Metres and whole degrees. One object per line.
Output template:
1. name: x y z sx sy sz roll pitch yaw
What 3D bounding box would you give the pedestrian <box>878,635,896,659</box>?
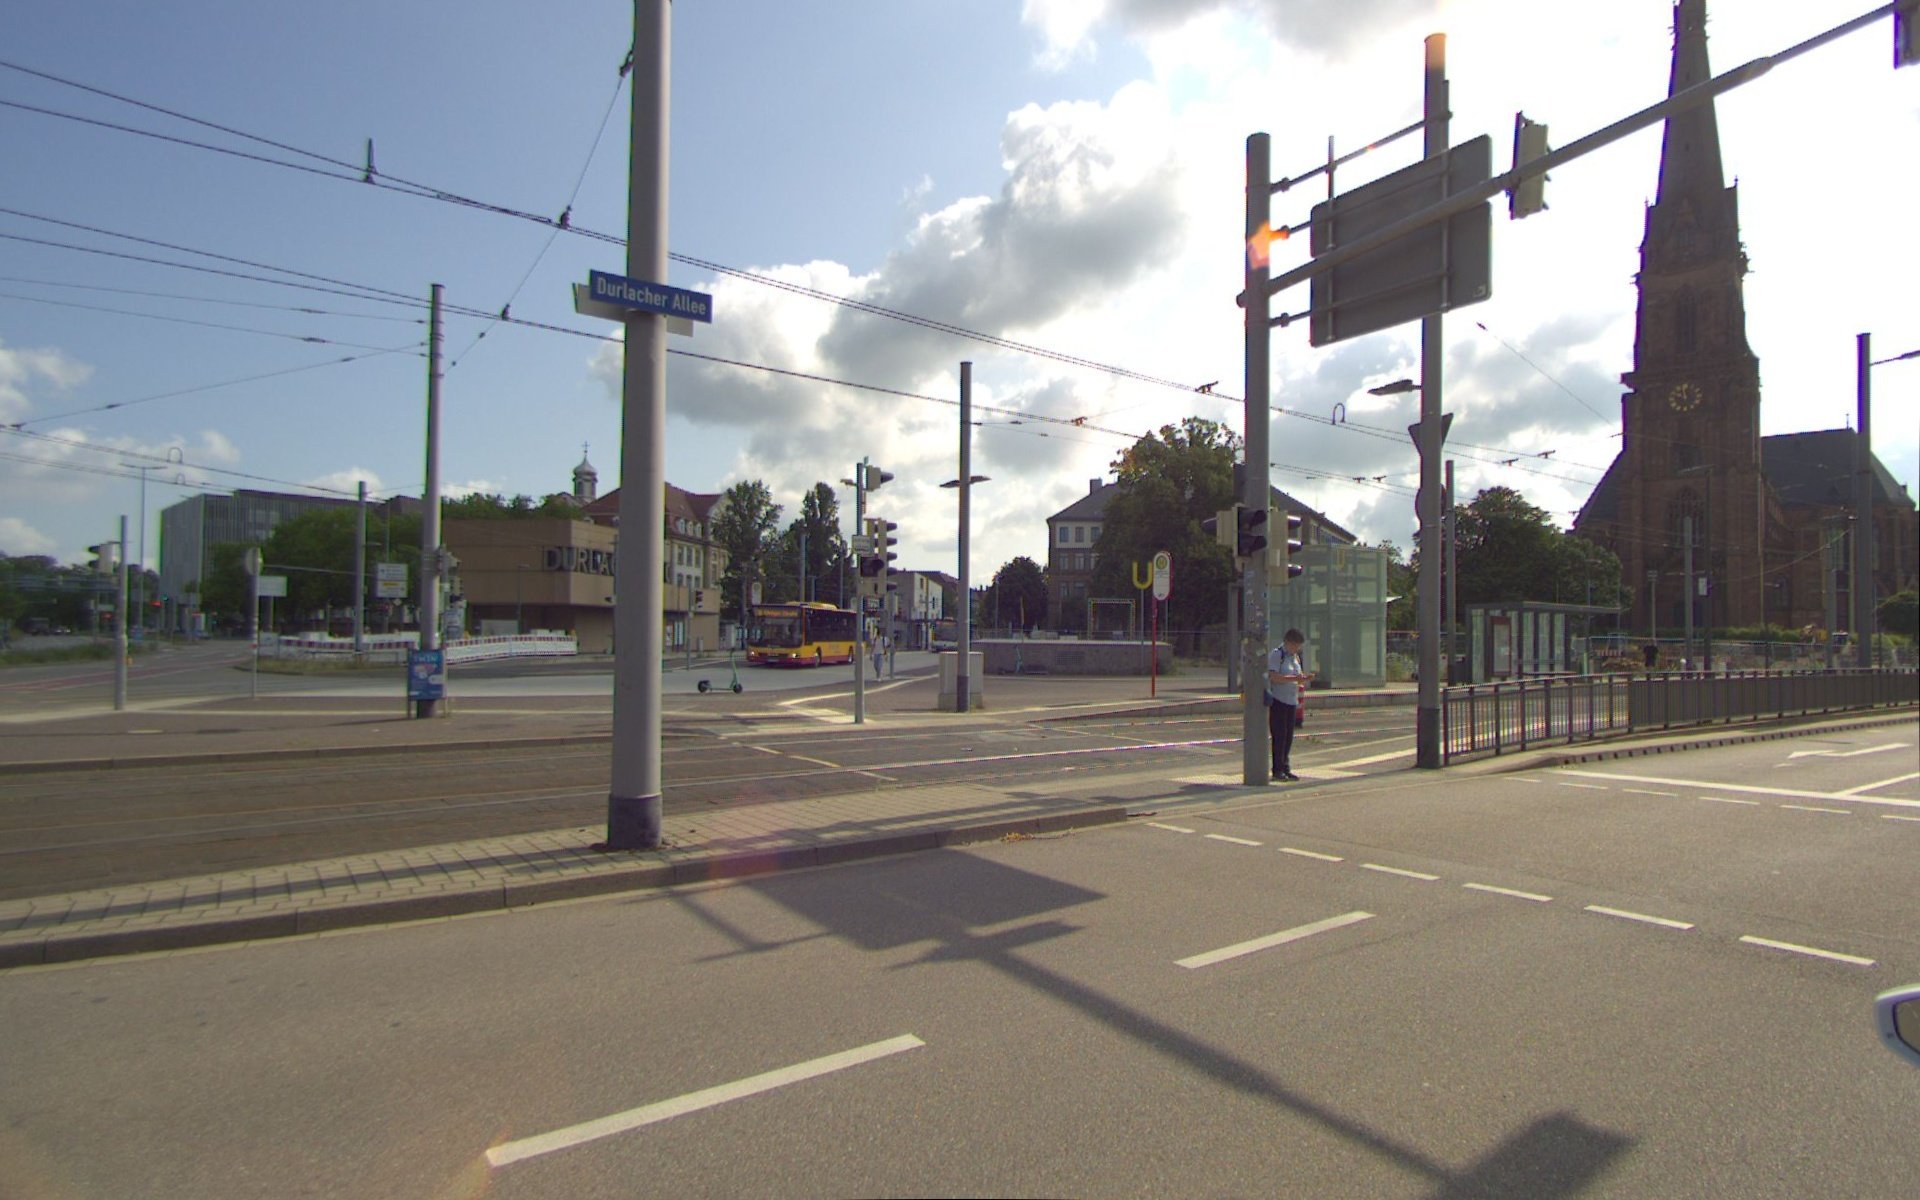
1. pedestrian: -4.699 3.020 64.445 0.839 1.542 0.795 -1 -2 43

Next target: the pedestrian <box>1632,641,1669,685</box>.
1. pedestrian: 30.505 2.772 44.394 1.034 1.824 0.993 -2 2 -29

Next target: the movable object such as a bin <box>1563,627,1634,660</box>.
1. movable object such as a bin: 55.787 3.807 87.895 1.979 2.838 4.874 2 -2 -34

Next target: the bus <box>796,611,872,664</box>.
1. bus: -6.521 1.966 52.540 2.647 2.621 5.082 0 -2 8

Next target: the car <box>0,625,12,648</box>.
1. car: -71.256 2.656 73.499 1.849 1.612 3.636 5 -2 -30

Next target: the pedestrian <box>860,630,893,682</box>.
1. pedestrian: -2.841 1.898 34.272 0.911 1.712 1.098 0 0 7

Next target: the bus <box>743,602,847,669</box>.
1. bus: -7.458 1.650 46.517 2.645 2.870 7.106 0 -2 9

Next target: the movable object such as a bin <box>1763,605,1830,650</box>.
1. movable object such as a bin: 73.350 2.368 88.078 5.522 3.780 2.656 0 0 -28

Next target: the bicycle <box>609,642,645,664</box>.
1. bicycle: -16.276 2.615 49.186 0.796 1.005 2.072 3 -4 7

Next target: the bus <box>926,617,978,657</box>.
1. bus: -0.587 3.478 94.982 2.905 3.554 12.264 0 -2 9

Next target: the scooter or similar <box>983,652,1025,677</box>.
1. scooter or similar: 1.733 2.547 39.680 1.630 0.962 0.474 0 -2 10

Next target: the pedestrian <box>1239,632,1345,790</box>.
1. pedestrian: 3.766 1.217 11.413 0.788 1.695 0.836 1 -2 -37

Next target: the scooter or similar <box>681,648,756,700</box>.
1. scooter or similar: -6.275 1.921 26.094 1.479 1.204 1.326 5 -2 -33

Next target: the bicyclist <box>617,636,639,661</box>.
1. bicyclist: -16.266 2.396 49.209 0.683 1.167 0.739 3 -4 7
